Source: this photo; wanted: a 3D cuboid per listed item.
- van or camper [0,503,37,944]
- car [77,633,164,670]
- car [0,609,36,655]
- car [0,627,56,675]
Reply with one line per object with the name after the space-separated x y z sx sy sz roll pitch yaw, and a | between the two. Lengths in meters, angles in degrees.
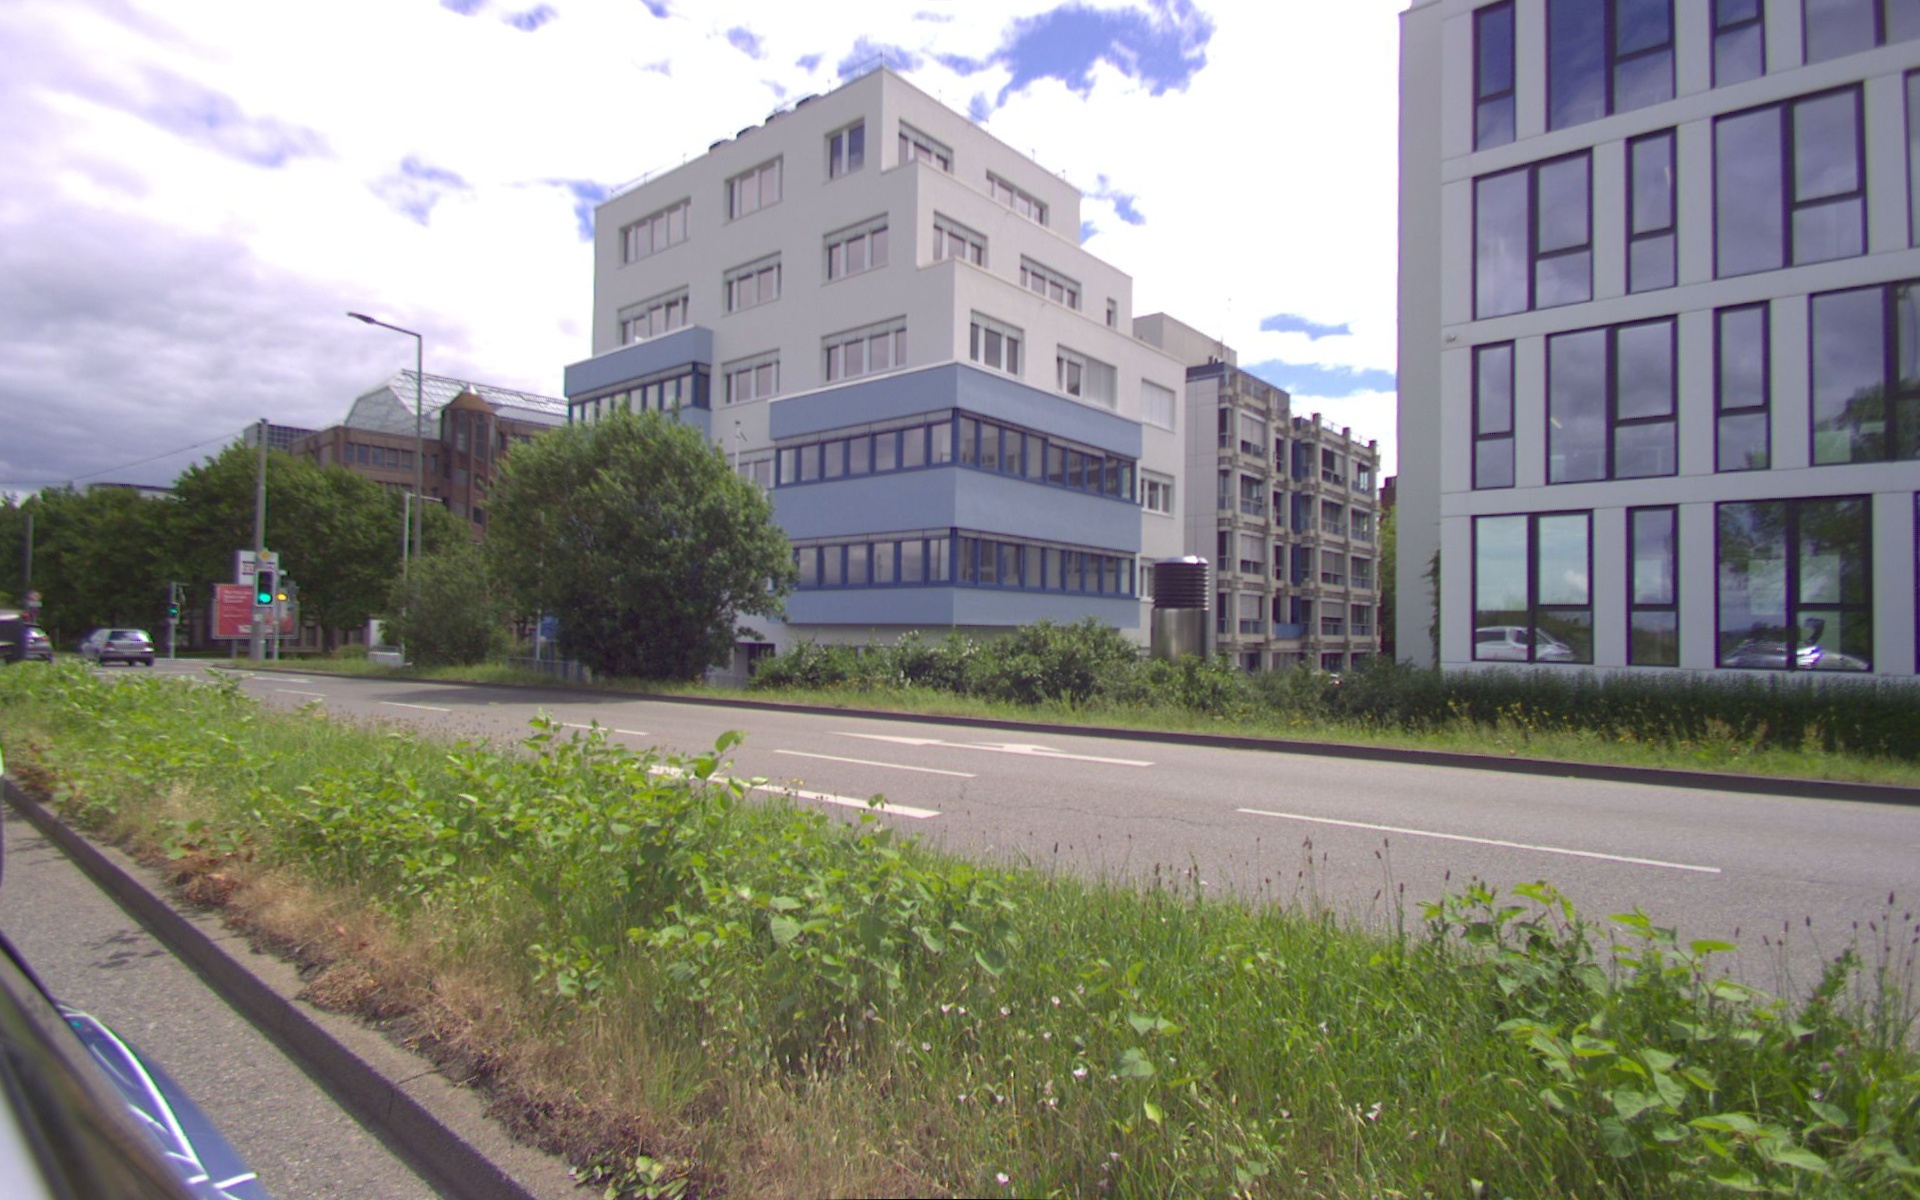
-7.217 0.593 5.814 5.793 2.029 1.974 -1 -3 39 | van or camper
-32.493 1.956 39.140 3.998 1.364 1.973 -2 -2 41 | car
-52.135 1.719 55.140 5.237 2.430 1.973 -1 -2 41 | car
-32.536 1.715 34.491 3.995 1.528 1.916 -2 -2 39 | car
